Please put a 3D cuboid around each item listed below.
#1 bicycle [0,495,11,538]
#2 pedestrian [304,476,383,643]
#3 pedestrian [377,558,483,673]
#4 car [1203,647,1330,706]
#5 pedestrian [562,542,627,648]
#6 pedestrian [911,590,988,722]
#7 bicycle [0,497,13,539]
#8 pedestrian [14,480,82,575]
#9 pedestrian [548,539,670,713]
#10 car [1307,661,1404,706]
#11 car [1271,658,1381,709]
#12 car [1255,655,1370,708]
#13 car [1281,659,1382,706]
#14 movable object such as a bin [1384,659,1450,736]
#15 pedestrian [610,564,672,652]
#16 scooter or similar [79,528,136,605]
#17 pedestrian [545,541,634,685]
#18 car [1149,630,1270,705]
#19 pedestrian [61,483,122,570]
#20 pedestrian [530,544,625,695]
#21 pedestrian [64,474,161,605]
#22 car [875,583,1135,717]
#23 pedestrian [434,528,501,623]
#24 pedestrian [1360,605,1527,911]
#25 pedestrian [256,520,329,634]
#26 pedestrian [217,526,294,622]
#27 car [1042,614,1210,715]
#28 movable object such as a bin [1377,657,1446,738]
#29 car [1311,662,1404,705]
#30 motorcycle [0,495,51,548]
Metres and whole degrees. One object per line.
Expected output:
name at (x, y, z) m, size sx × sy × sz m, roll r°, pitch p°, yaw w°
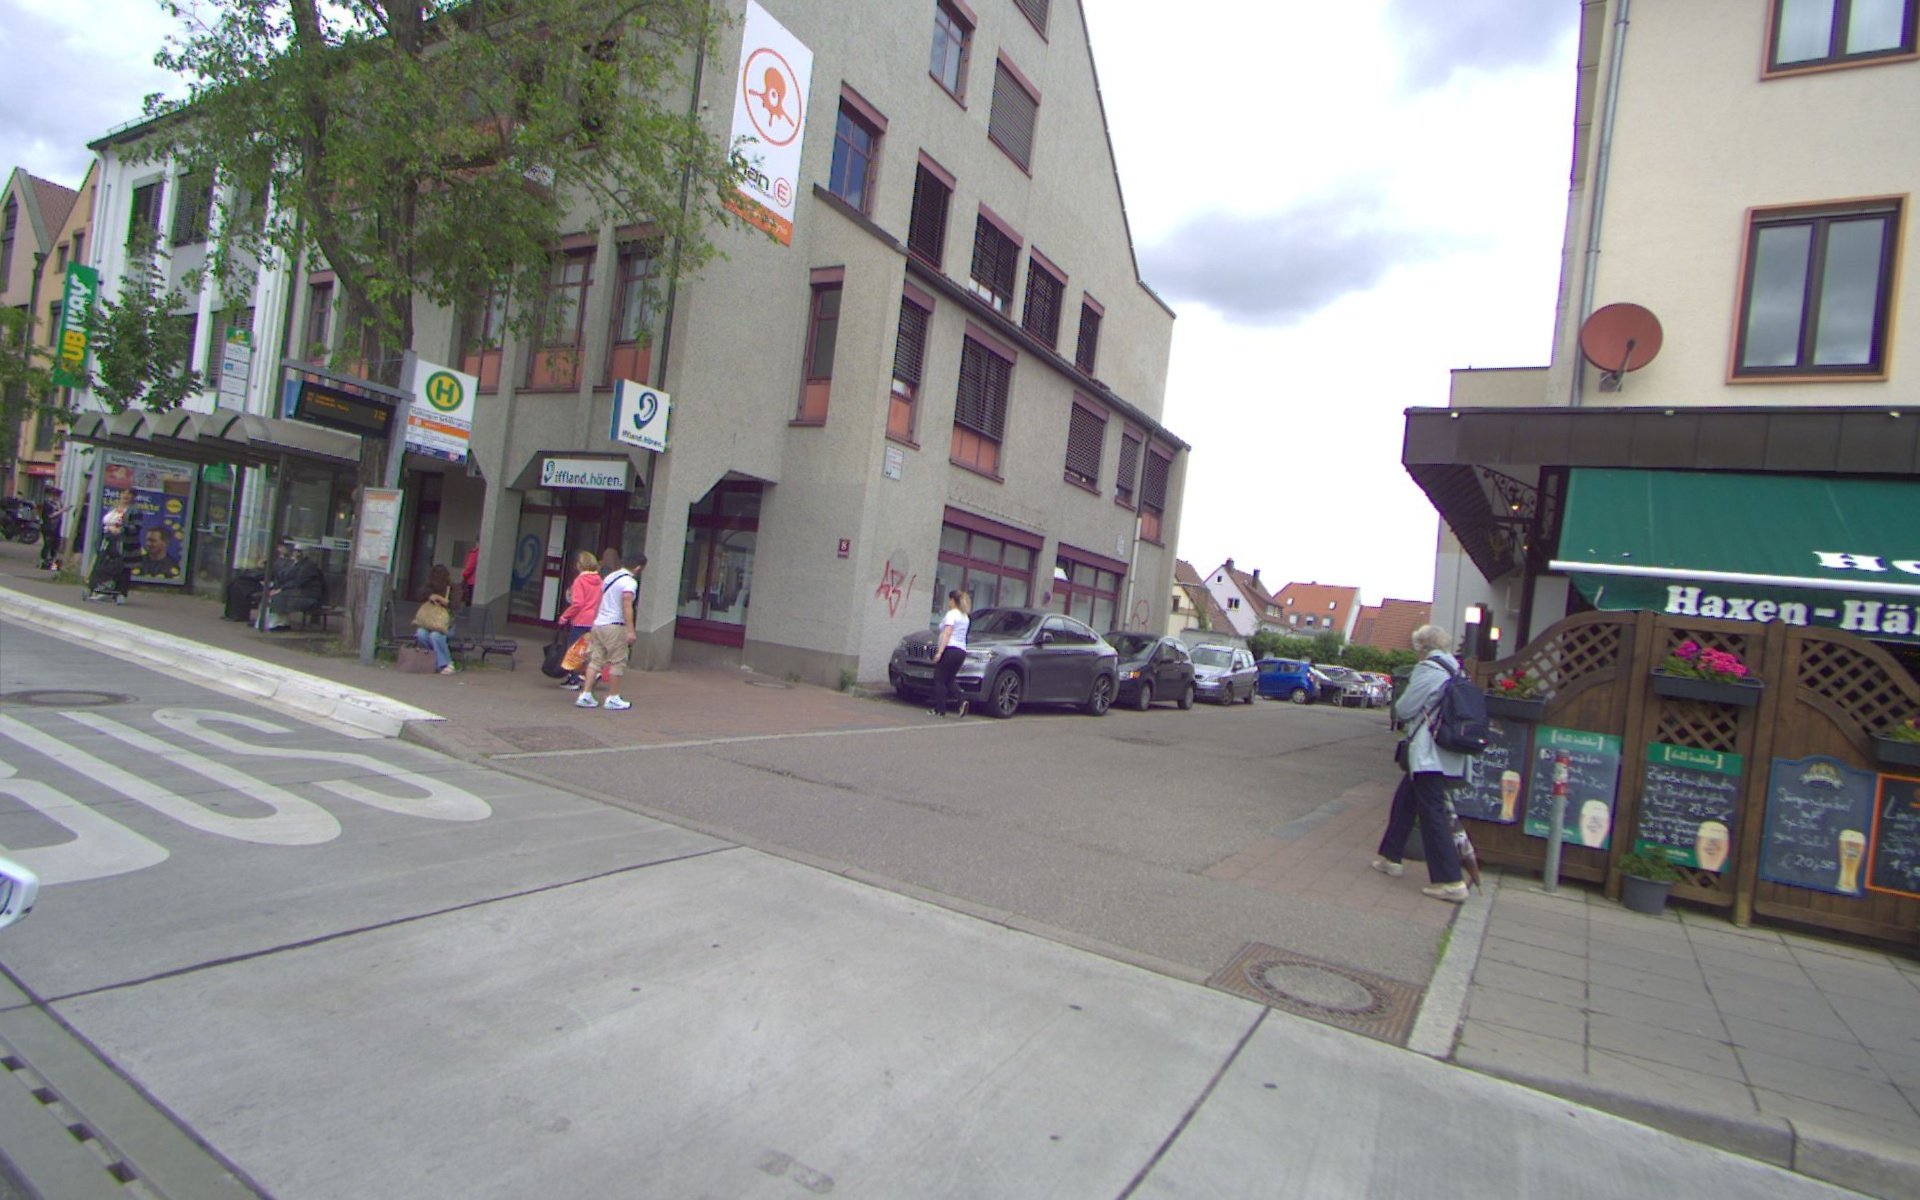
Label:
bicycle at (-31.680, -2.814, 32.072) m, size 0.829 × 1.342 × 1.820 m, roll 7°, pitch -1°, yaw 28°
pedestrian at (-7.987, -0.513, 13.026) m, size 0.611 × 2.073 × 0.580 m, roll 5°, pitch 2°, yaw -45°
pedestrian at (-5.961, 0.187, 11.325) m, size 0.577 × 1.179 × 0.714 m, roll 8°, pitch -1°, yaw 25°
car at (11.006, 2.737, 36.177) m, size 3.886 × 1.525 × 1.834 m, roll 7°, pitch -2°, yaw 32°
pedestrian at (-6.092, -0.080, 16.775) m, size 0.605 × 1.654 × 0.587 m, roll 8°, pitch 0°, yaw 33°
pedestrian at (-0.132, 0.740, 13.278) m, size 0.605 × 1.654 × 0.587 m, roll 7°, pitch 0°, yaw 32°
bicycle at (-30.990, -2.696, 31.528) m, size 0.658 × 1.274 × 1.678 m, roll 7°, pitch -1°, yaw 28°
pedestrian at (-18.252, -1.448, 20.135) m, size 0.578 × 1.758 × 0.615 m, roll 8°, pitch -3°, yaw 28°
pedestrian at (-3.624, 0.273, 10.408) m, size 0.779 × 1.654 × 0.615 m, roll 8°, pitch 0°, yaw 23°
car at (18.754, 3.974, 47.752) m, size 3.887 × 1.525 × 1.834 m, roll 7°, pitch -2°, yaw 33°
car at (15.241, 3.454, 41.937) m, size 3.887 × 1.525 × 1.834 m, roll 7°, pitch -2°, yaw 33°
car at (13.948, 3.228, 39.857) m, size 3.887 × 1.525 × 1.834 m, roll 7°, pitch -2°, yaw 33°
car at (16.840, 3.738, 45.652) m, size 3.887 × 1.525 × 1.834 m, roll 7°, pitch -2°, yaw 33°
movable object such as a bin at (10.623, 2.259, 23.364) m, size 1.099 × 1.582 × 1.106 m, roll 7°, pitch 0°, yaw 31°
pedestrian at (-5.382, 0.138, 16.981) m, size 0.605 × 1.392 × 0.587 m, roll 8°, pitch 0°, yaw 34°
scooter or similar at (-11.333, -0.437, 13.384) m, size 0.349 × 0.971 × 0.384 m, roll 7°, pitch 0°, yaw -9°
pedestrian at (-4.521, 0.169, 12.291) m, size 0.579 × 1.653 × 0.613 m, roll 7°, pitch -1°, yaw 36°
car at (6.503, 1.784, 25.950) m, size 1.806 × 1.525 × 3.946 m, roll 7°, pitch -2°, yaw 32°
pedestrian at (-17.234, -1.443, 19.975) m, size 0.578 × 1.631 × 0.613 m, roll 6°, pitch 0°, yaw -13°
pedestrian at (-4.326, 0.225, 11.373) m, size 0.669 × 1.585 × 0.486 m, roll 9°, pitch 0°, yaw -38°
pedestrian at (-11.524, -0.811, 13.692) m, size 0.577 × 1.652 × 0.537 m, roll 9°, pitch -2°, yaw 7°
car at (0.904, 0.889, 16.208) m, size 1.851 × 1.638 × 4.609 m, roll 7°, pitch -2°, yaw 35°
pedestrian at (-9.289, -0.454, 18.988) m, size 0.604 × 1.654 × 0.728 m, roll 8°, pitch 0°, yaw 23°
pedestrian at (3.096, 0.959, 6.466) m, size 0.768 × 1.764 × 0.683 m, roll 6°, pitch 1°, yaw 27°
pedestrian at (-8.821, -0.298, 13.287) m, size 0.611 × 1.419 × 0.580 m, roll 5°, pitch 1°, yaw -45°
pedestrian at (-9.849, -0.355, 14.068) m, size 0.580 × 1.248 × 0.698 m, roll 7°, pitch 2°, yaw 41°
car at (3.515, 1.384, 20.688) m, size 1.807 × 1.638 × 3.944 m, roll 7°, pitch -2°, yaw 34°
movable object such as a bin at (9.940, 2.136, 22.146) m, size 1.099 × 1.582 × 1.106 m, roll 7°, pitch 0°, yaw 31°
car at (19.664, 4.147, 49.851) m, size 3.887 × 1.525 × 1.834 m, roll 7°, pitch -2°, yaw 33°
motorcycle at (-26.559, -2.238, 28.293) m, size 2.071 × 1.286 × 0.738 m, roll 7°, pitch 0°, yaw 28°
